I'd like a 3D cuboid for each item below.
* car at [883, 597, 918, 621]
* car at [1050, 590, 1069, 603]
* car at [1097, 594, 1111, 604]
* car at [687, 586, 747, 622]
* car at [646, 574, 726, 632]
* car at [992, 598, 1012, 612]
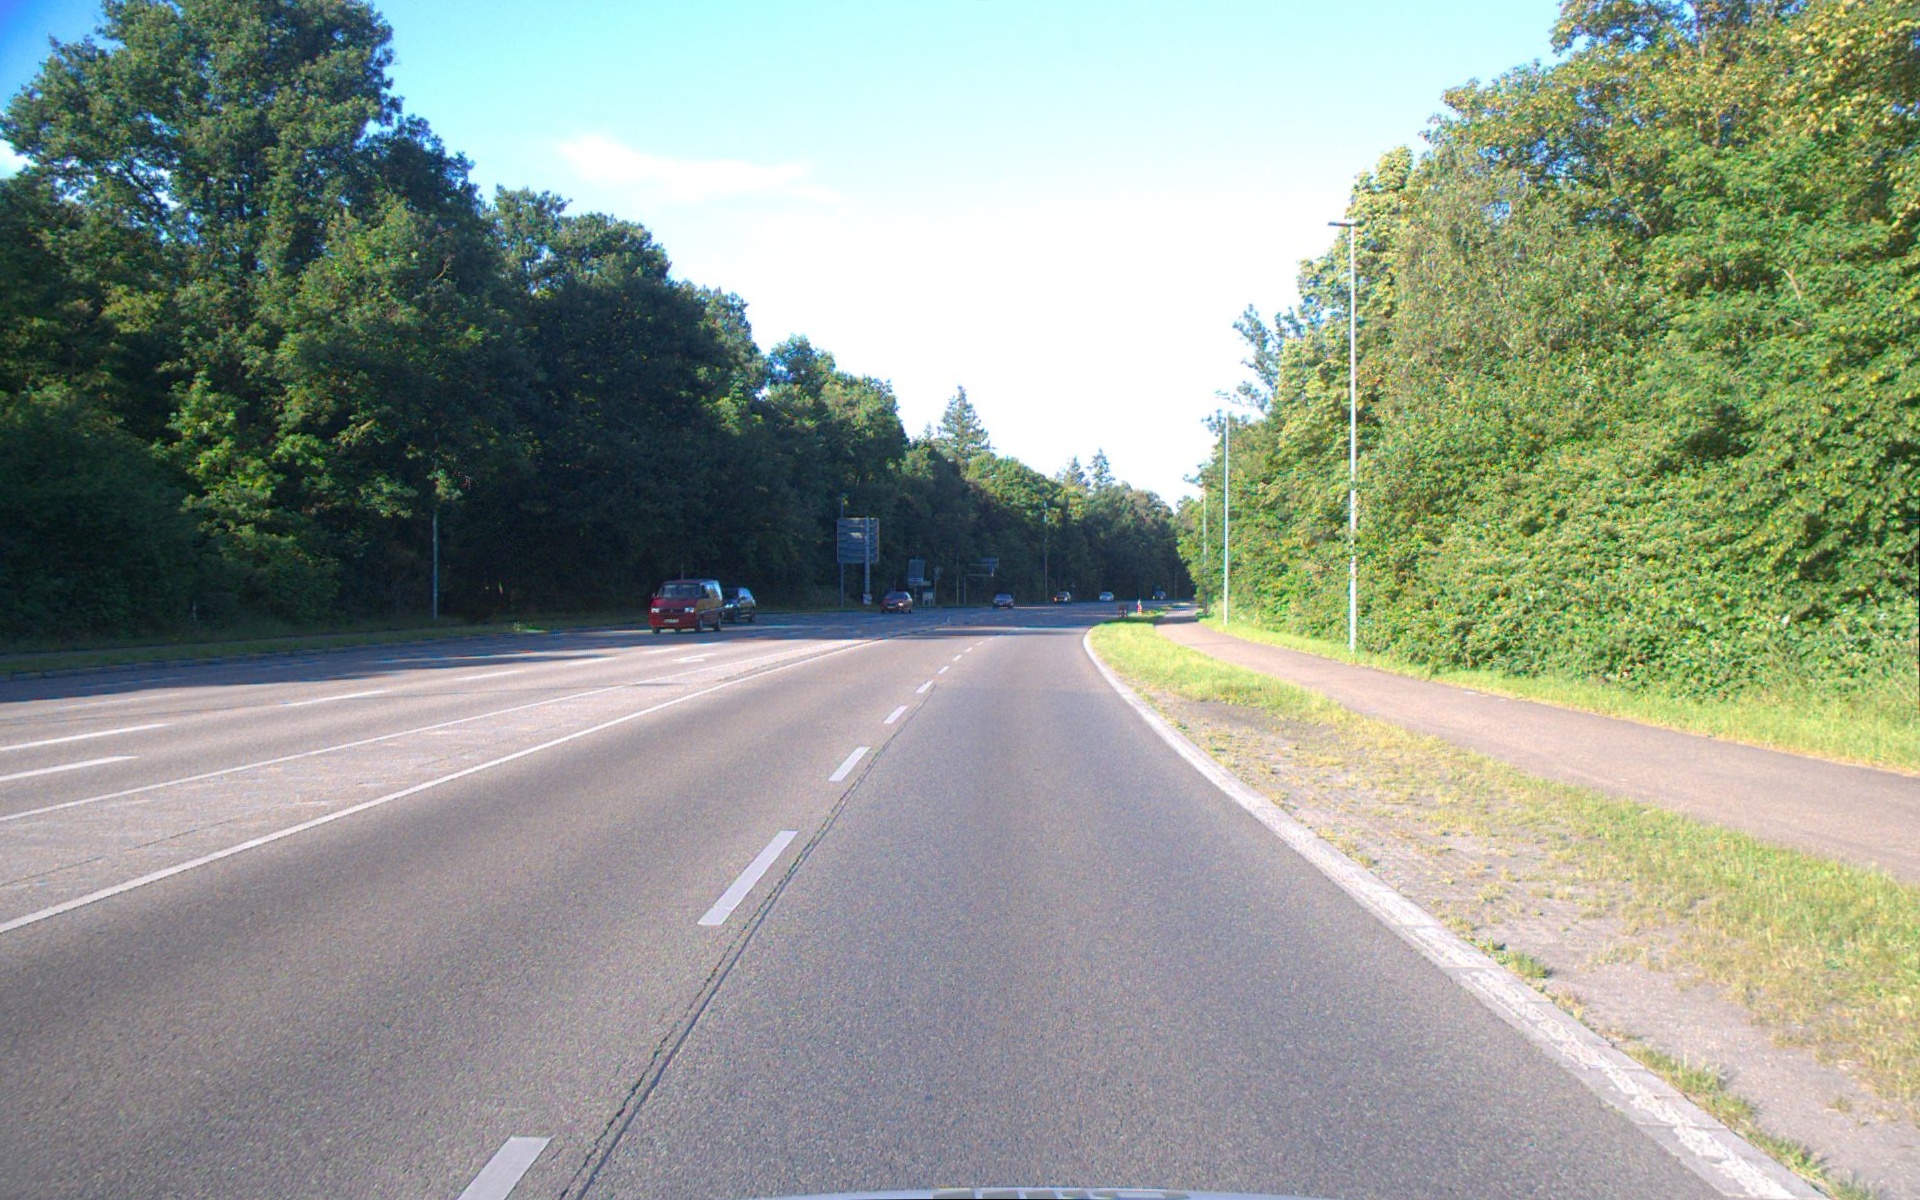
[{"bbox_3d":[-4.102,0.626,115.099,1.951,1.591,4.340,0,0,4],"label":"car"},{"bbox_3d":[12.775,-0.458,211.974,1.786,1.572,4.260,1,0,11],"label":"car"},{"bbox_3d":[22.010,-0.109,251.882,1.786,1.530,4.310,1,0,9],"label":"car"},{"bbox_3d":[-11.587,0.189,79.137,1.952,1.665,4.845,0,0,2],"label":"car"},{"bbox_3d":[-10.047,0.107,60.888,1.952,1.996,4.649,-1,0,2],"label":"car"},{"bbox_3d":[4.118,0.465,159.973,1.707,1.256,4.676,0,0,4],"label":"car"}]
